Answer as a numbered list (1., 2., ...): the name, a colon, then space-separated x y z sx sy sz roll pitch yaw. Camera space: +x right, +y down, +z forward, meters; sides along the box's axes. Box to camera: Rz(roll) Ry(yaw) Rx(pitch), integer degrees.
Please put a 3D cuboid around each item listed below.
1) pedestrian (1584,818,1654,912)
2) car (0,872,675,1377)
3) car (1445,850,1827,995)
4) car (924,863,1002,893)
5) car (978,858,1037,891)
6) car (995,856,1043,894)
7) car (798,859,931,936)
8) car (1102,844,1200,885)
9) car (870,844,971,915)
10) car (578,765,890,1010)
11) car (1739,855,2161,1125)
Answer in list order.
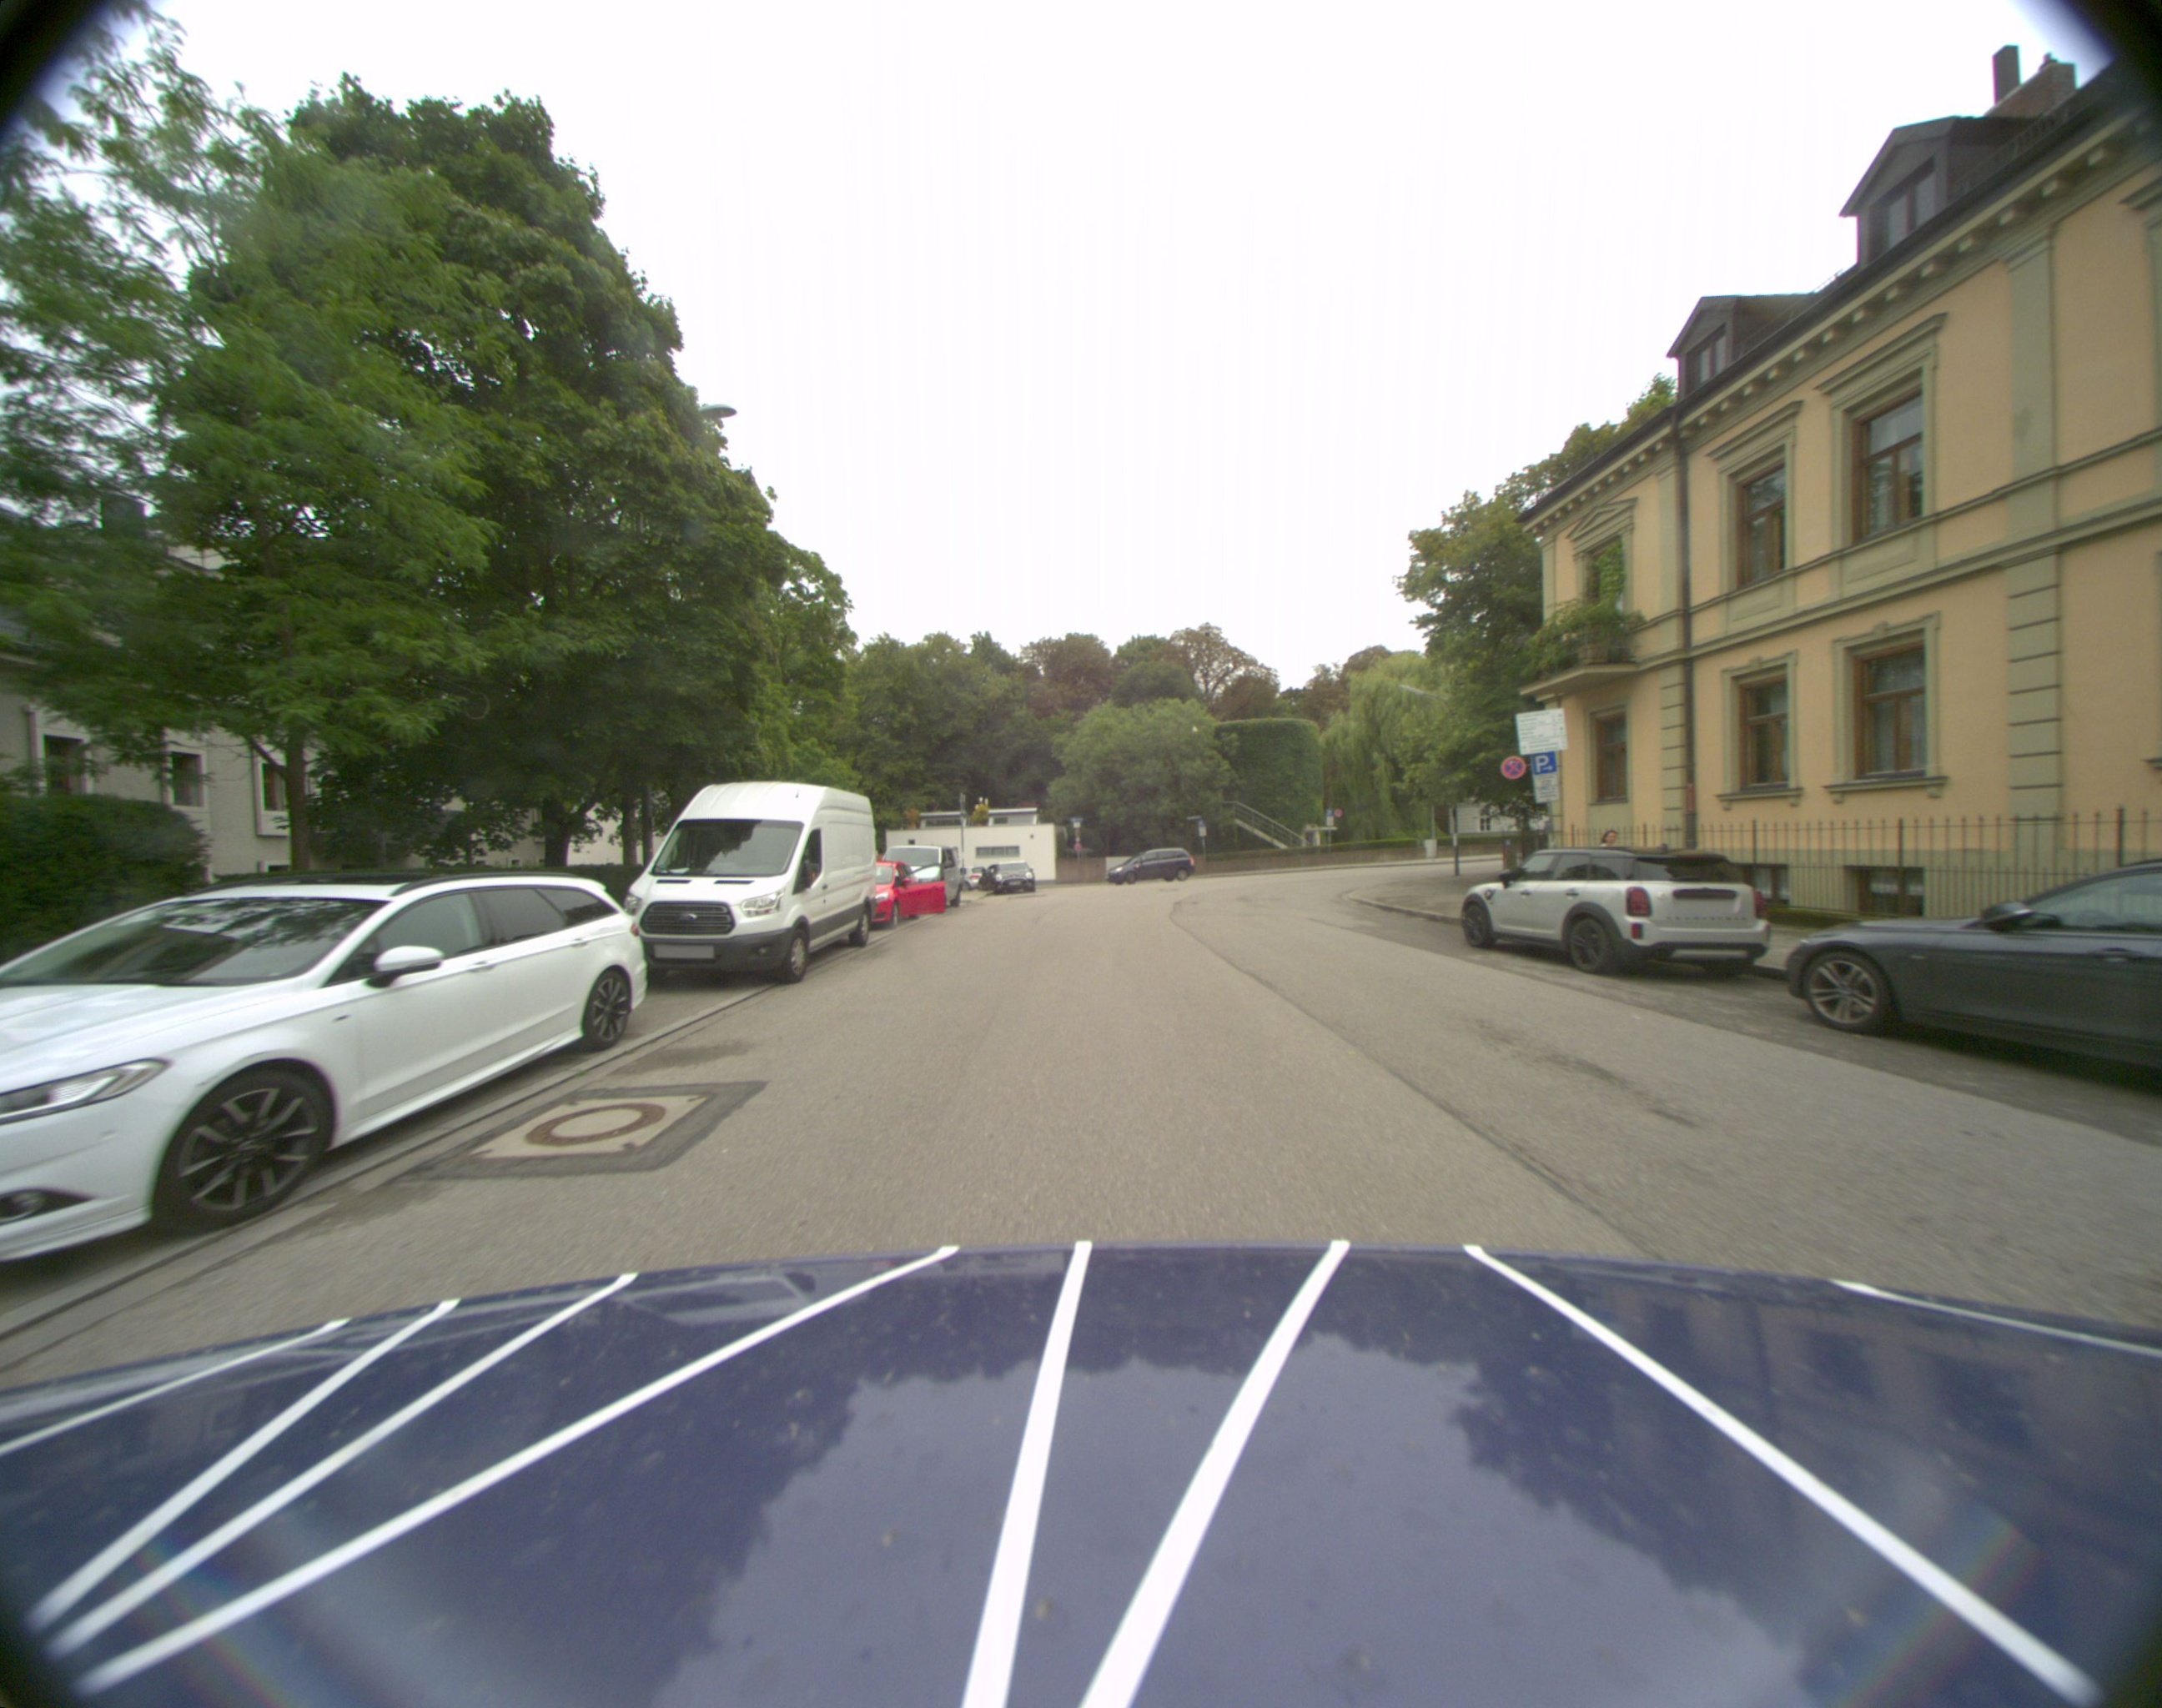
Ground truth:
1. pedestrian: 9.581 0.186 13.546 0.655 1.594 0.739 -3 1 -1
2. car: -4.632 0.939 4.675 1.876 1.560 5.000 0 0 -4
3. car: 7.068 0.729 10.464 1.940 1.526 4.530 0 1 0
4. car: -6.584 1.328 42.325 4.005 1.437 1.945 -4 -2 33
5. car: -3.768 1.076 38.359 1.899 1.438 4.009 -5 -1 -21
6. car: -2.842 0.922 34.061 1.897 1.438 4.267 -4 -1 -7
7. car: -4.796 0.893 17.606 1.876 1.498 4.836 0 0 -2
8. car: 3.443 0.534 37.757 4.336 1.682 1.998 -3 -2 -15
9. car: -4.671 0.689 22.840 1.940 1.894 5.071 0 0 0
10. car: -4.559 0.369 11.374 2.085 2.671 6.086 0 0 -2
11. car: 7.093 0.787 4.592 1.941 1.499 4.820 0 1 -2
